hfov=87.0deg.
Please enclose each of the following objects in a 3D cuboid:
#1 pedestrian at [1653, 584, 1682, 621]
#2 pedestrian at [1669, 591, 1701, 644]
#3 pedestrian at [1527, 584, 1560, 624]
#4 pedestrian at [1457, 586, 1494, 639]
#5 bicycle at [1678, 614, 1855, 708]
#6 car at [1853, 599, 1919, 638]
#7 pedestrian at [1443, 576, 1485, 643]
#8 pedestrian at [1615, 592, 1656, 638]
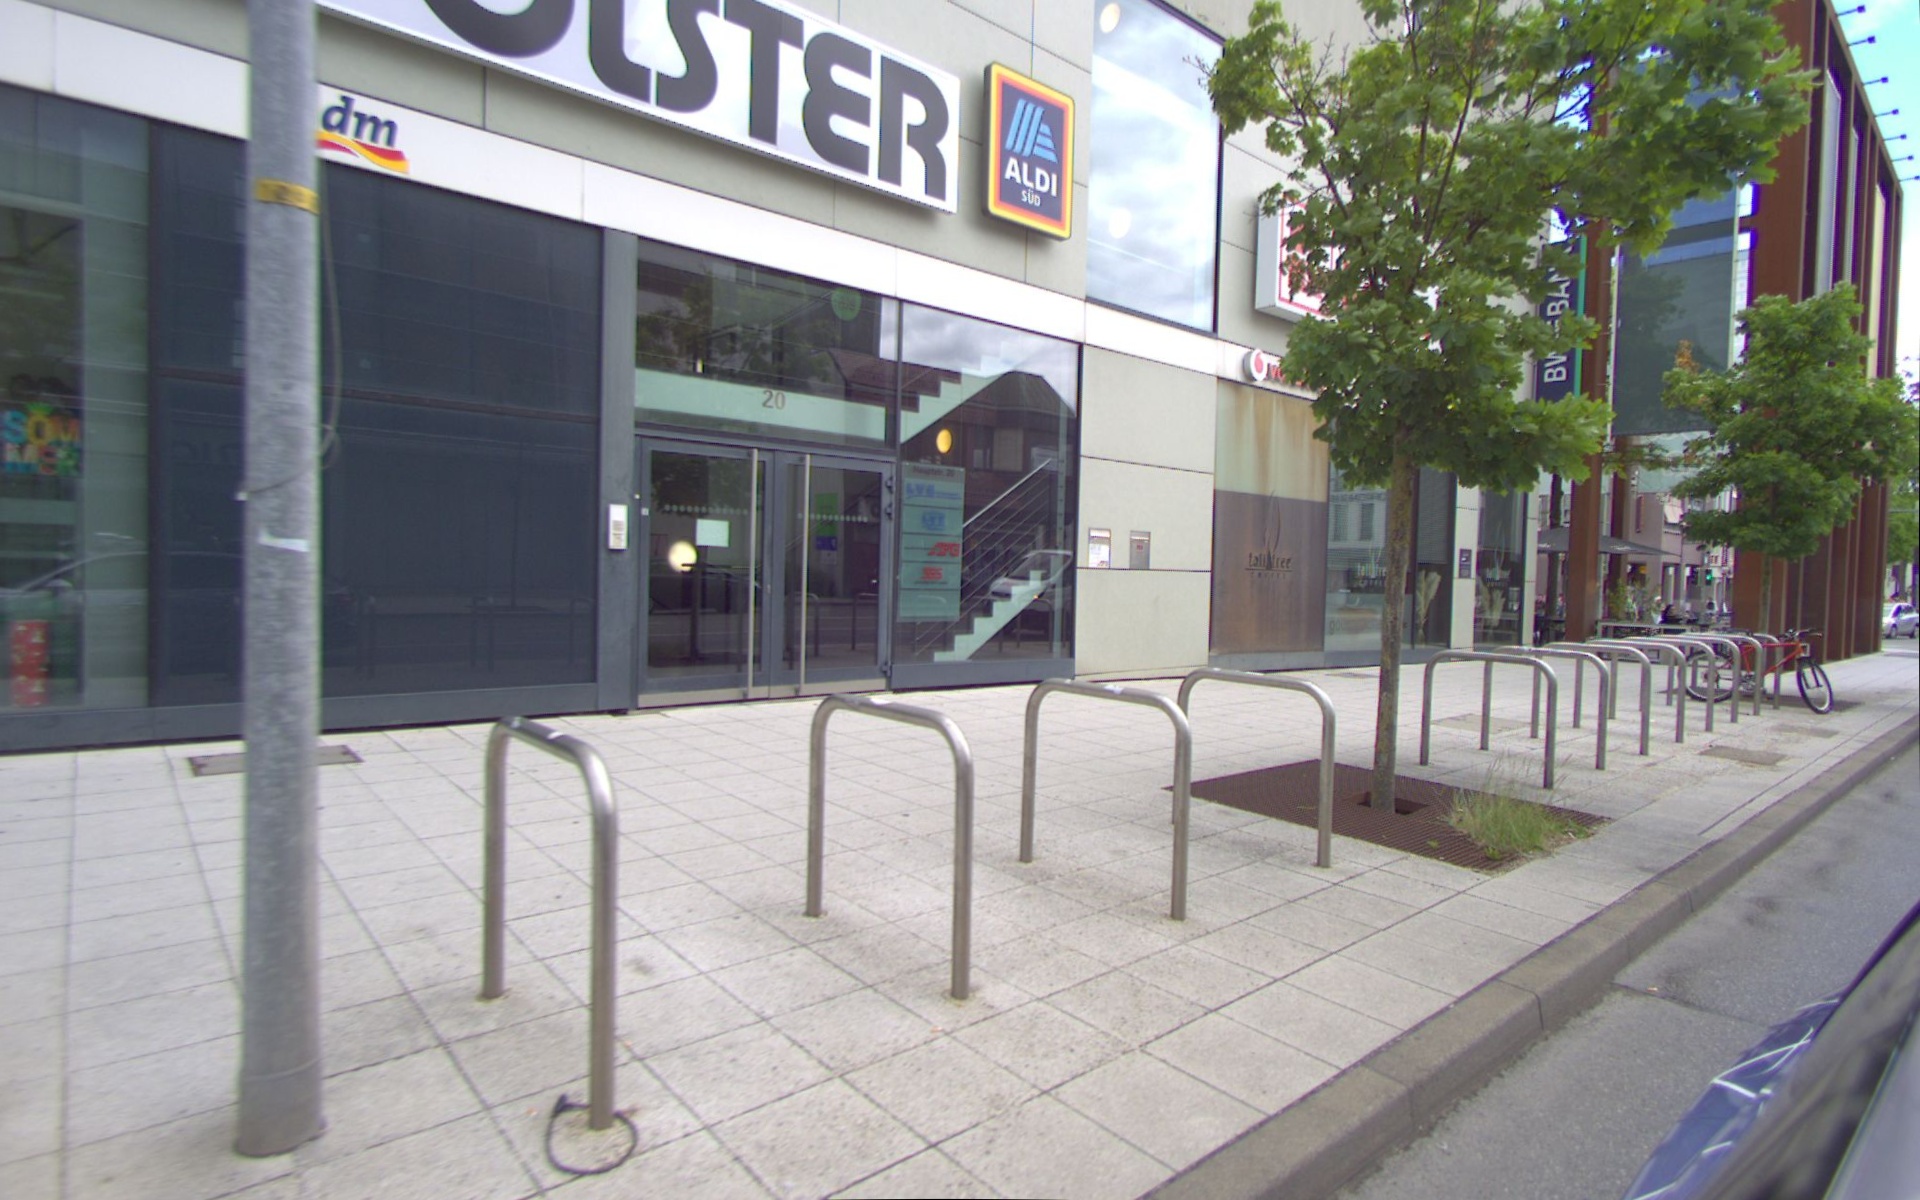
[{"bbox_3d":[32.020,0.112,45.789,1.074,1.646,0.810,0,2,-41],"label":"pedestrian"},{"bbox_3d":[17.427,0.419,24.324,0.595,1.235,0.449,0,1,-37],"label":"pedestrian"},{"bbox_3d":[23.842,0.164,41.344,1.040,1.604,0.831,0,1,-41],"label":"pedestrian"},{"bbox_3d":[12.138,0.290,23.838,0.782,1.223,0.516,2,0,-43],"label":"pedestrian"},{"bbox_3d":[9.962,0.720,12.548,0.738,1.004,1.565,0,2,-37],"label":"bicycle"},{"bbox_3d":[43.200,0.808,46.690,4.293,1.722,1.746,0,0,-31],"label":"car"},{"bbox_3d":[11.499,0.209,23.089,0.596,1.487,0.647,0,1,-40],"label":"pedestrian"},{"bbox_3d":[26.209,0.559,39.248,1.091,1.737,1.057,0,1,-42],"label":"pedestrian"}]
